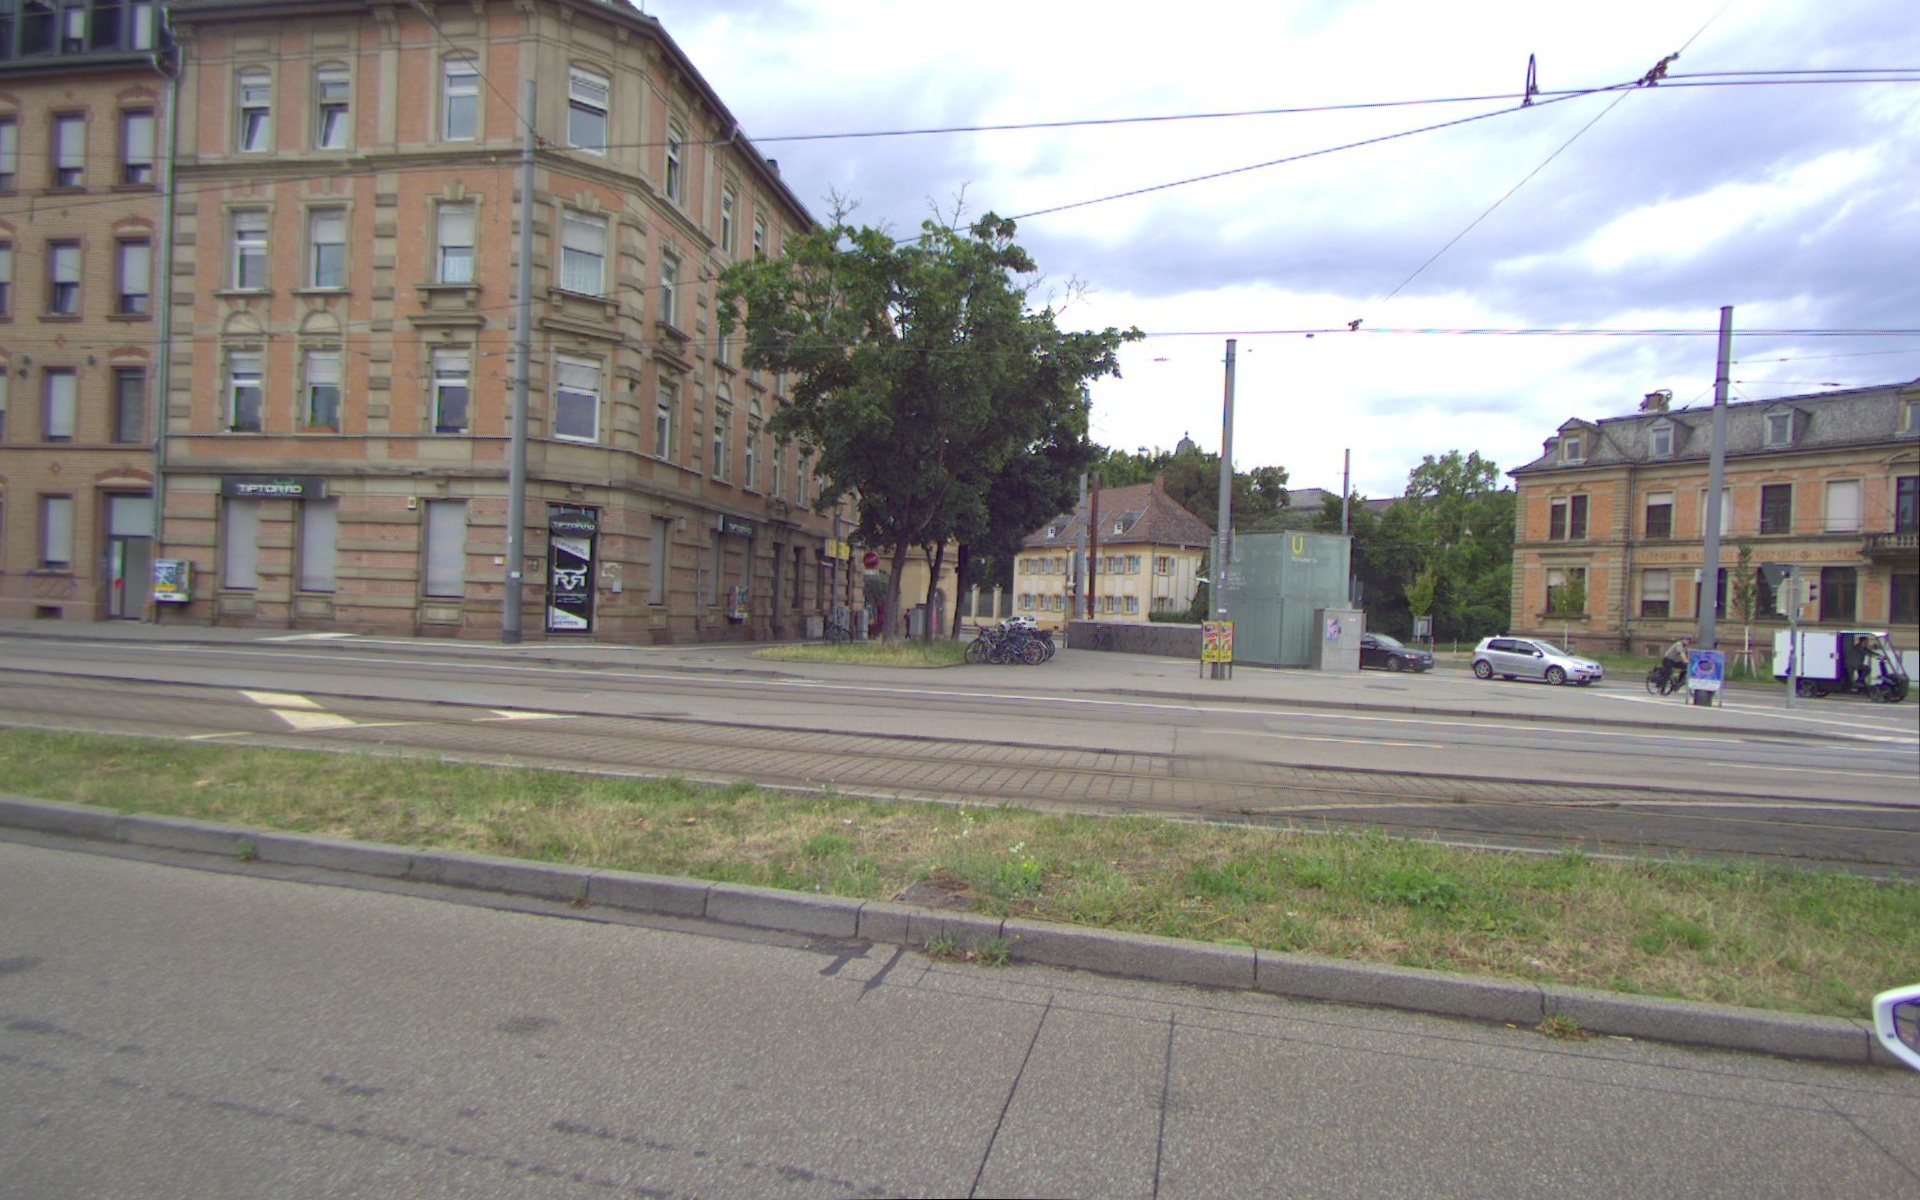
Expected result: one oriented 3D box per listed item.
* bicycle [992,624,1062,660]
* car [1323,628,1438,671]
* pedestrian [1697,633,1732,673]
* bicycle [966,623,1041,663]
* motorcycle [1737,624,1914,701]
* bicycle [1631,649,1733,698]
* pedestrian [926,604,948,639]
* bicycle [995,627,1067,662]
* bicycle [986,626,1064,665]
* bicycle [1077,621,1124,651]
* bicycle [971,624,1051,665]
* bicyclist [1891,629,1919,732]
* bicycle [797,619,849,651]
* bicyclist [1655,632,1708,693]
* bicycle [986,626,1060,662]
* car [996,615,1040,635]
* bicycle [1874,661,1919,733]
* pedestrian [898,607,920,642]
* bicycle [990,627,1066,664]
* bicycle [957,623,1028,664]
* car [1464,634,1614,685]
[{"bbox_3d":[2.212,1.383,33.191,2.177,1.052,0.688,2,0,21],"label":"bicycle"},{"bbox_3d":[16.516,1.919,39.645,1.674,1.468,4.118,2,0,-24],"label":"car"},{"bbox_3d":[35.001,2.451,46.587,0.752,1.786,1.113,2,0,-41],"label":"pedestrian"},{"bbox_3d":[1.196,1.191,27.819,1.998,1.000,0.522,2,0,21],"label":"bicycle"},{"bbox_3d":[25.824,1.819,30.095,1.676,2.040,3.657,2,0,-30],"label":"motorcycle"},{"bbox_3d":[20.415,2.060,28.465,0.847,1.224,2.181,3,-1,-29],"label":"bicycle"},{"bbox_3d":[-1.196,1.119,52.586,0.830,1.745,0.953,2,0,14],"label":"pedestrian"},{"bbox_3d":[2.238,1.393,31.904,2.177,1.000,0.585,2,0,21],"label":"bicycle"},{"bbox_3d":[1.879,1.298,28.998,2.177,1.000,0.500,2,0,21],"label":"bicycle"},{"bbox_3d":[5.897,1.506,42.184,0.731,1.130,2.347,2,0,-27],"label":"bicycle"},{"bbox_3d":[1.425,1.243,28.337,2.177,1.019,0.480,2,0,21],"label":"bicycle"},{"bbox_3d":[17.640,1.453,18.139,0.799,1.822,1.030,1,-1,13],"label":"bicyclist"},{"bbox_3d":[-4.400,1.111,32.095,0.657,0.927,1.965,2,0,-41],"label":"bicycle"},{"bbox_3d":[20.434,1.761,28.464,0.845,1.644,0.910,3,-1,-29],"label":"bicyclist"},{"bbox_3d":[1.938,1.342,30.953,2.177,1.000,0.500,2,0,21],"label":"bicycle"},{"bbox_3d":[4.957,2.117,86.161,1.678,1.468,4.150,2,0,-32],"label":"car"},{"bbox_3d":[17.632,1.760,18.135,0.799,1.259,2.001,1,-2,13],"label":"bicycle"},{"bbox_3d":[-2.585,1.231,51.462,0.830,1.745,0.953,2,0,14],"label":"pedestrian"},{"bbox_3d":[2.054,1.354,30.261,2.177,1.000,0.611,2,0,21],"label":"bicycle"},{"bbox_3d":[0.875,1.160,27.129,1.832,1.000,0.500,2,0,19],"label":"bicycle"},{"bbox_3d":[19.475,1.977,33.995,1.738,1.473,4.134,2,0,-26],"label":"car"}]
